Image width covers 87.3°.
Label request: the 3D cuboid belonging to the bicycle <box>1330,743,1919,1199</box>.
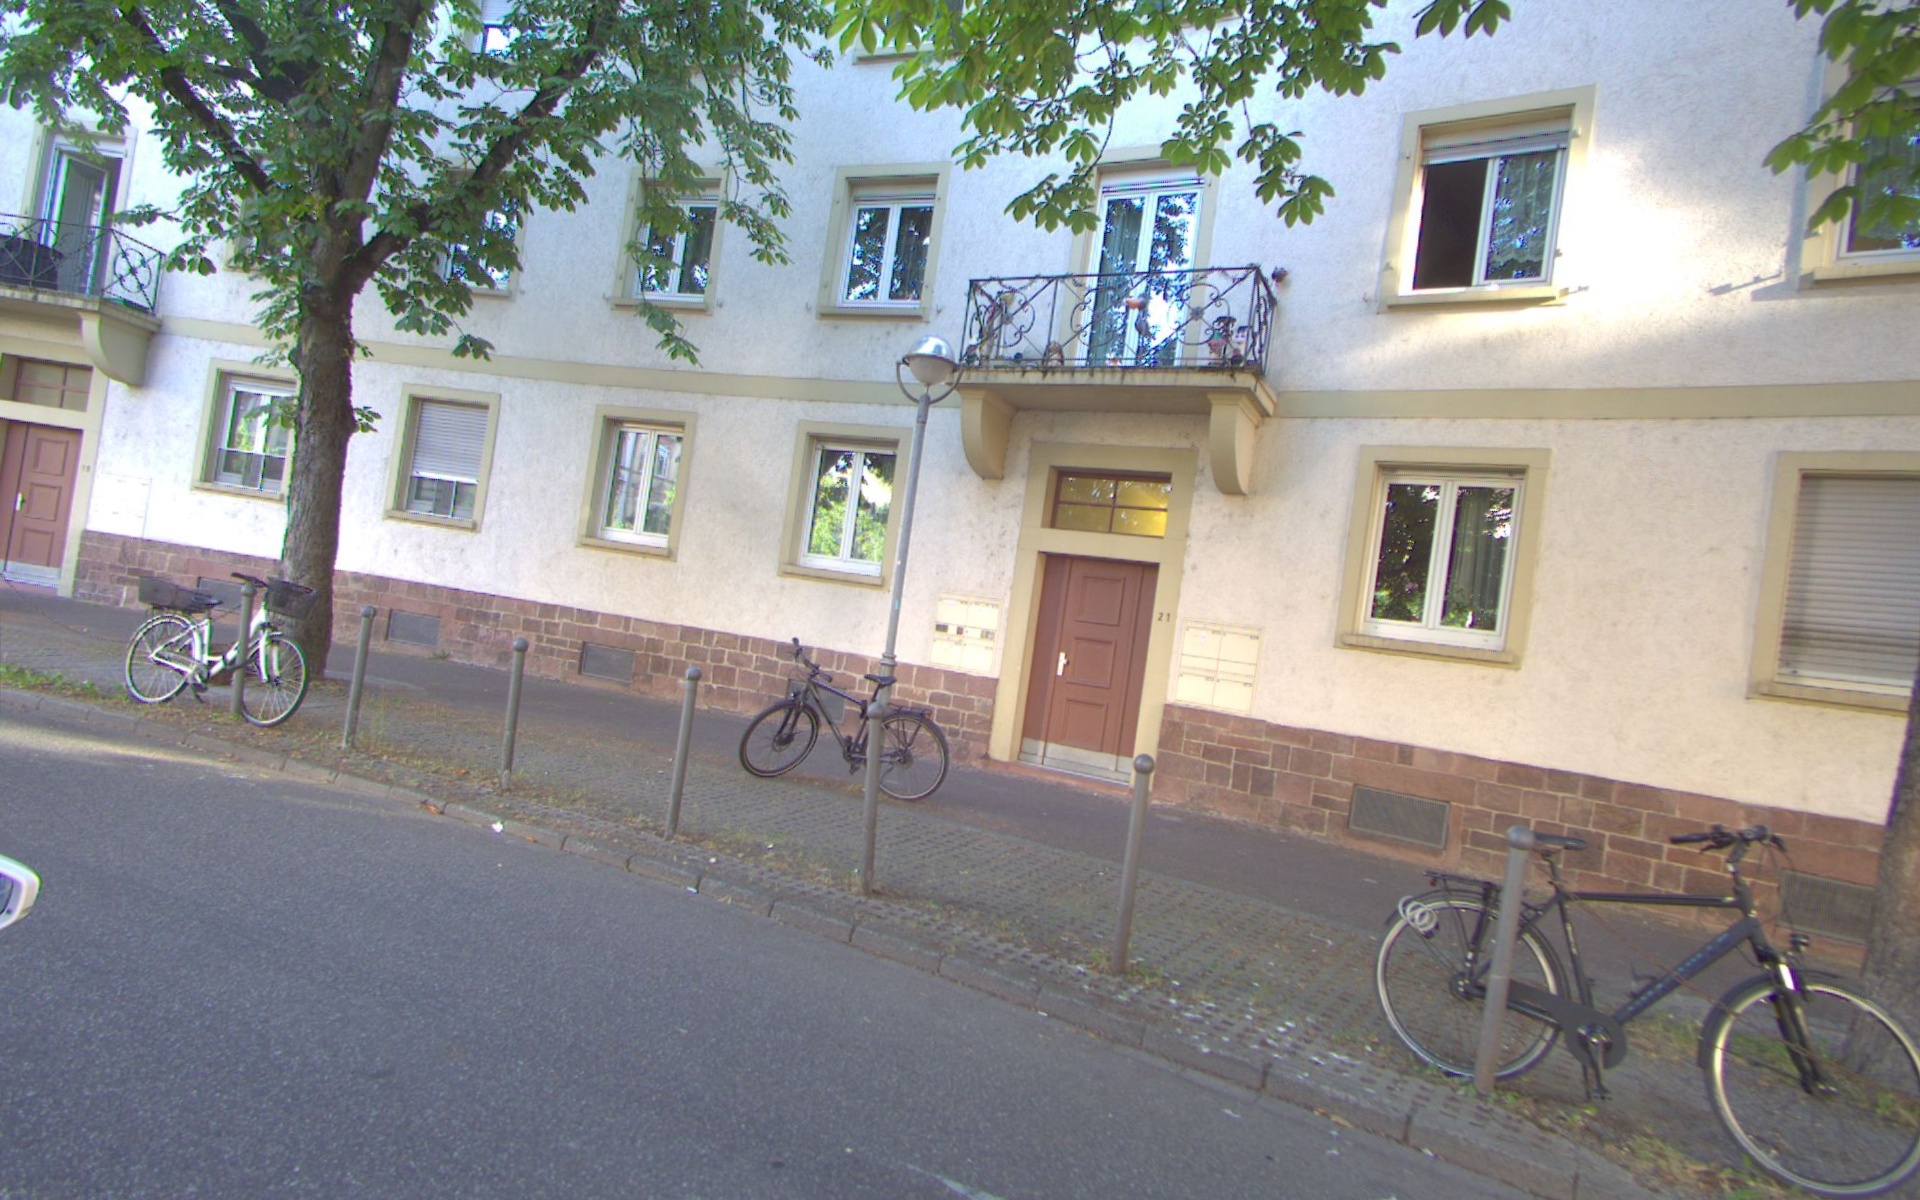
[{"bbox_3d":[2.484,1.319,3.716,1.881,1.237,0.719,7,-1,29],"label":"bicycle"}]

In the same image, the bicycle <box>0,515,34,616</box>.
[{"bbox_3d":[-11.850,-0.529,11.573,1.929,1.120,0.670,8,-2,13],"label":"bicycle"}]

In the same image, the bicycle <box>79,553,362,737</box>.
[{"bbox_3d":[-5.736,0.332,7.814,1.936,1.109,0.514,8,0,12],"label":"bicycle"}]

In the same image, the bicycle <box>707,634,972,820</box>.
[{"bbox_3d":[-0.927,0.979,8.045,1.823,1.131,0.804,8,-1,8],"label":"bicycle"}]
